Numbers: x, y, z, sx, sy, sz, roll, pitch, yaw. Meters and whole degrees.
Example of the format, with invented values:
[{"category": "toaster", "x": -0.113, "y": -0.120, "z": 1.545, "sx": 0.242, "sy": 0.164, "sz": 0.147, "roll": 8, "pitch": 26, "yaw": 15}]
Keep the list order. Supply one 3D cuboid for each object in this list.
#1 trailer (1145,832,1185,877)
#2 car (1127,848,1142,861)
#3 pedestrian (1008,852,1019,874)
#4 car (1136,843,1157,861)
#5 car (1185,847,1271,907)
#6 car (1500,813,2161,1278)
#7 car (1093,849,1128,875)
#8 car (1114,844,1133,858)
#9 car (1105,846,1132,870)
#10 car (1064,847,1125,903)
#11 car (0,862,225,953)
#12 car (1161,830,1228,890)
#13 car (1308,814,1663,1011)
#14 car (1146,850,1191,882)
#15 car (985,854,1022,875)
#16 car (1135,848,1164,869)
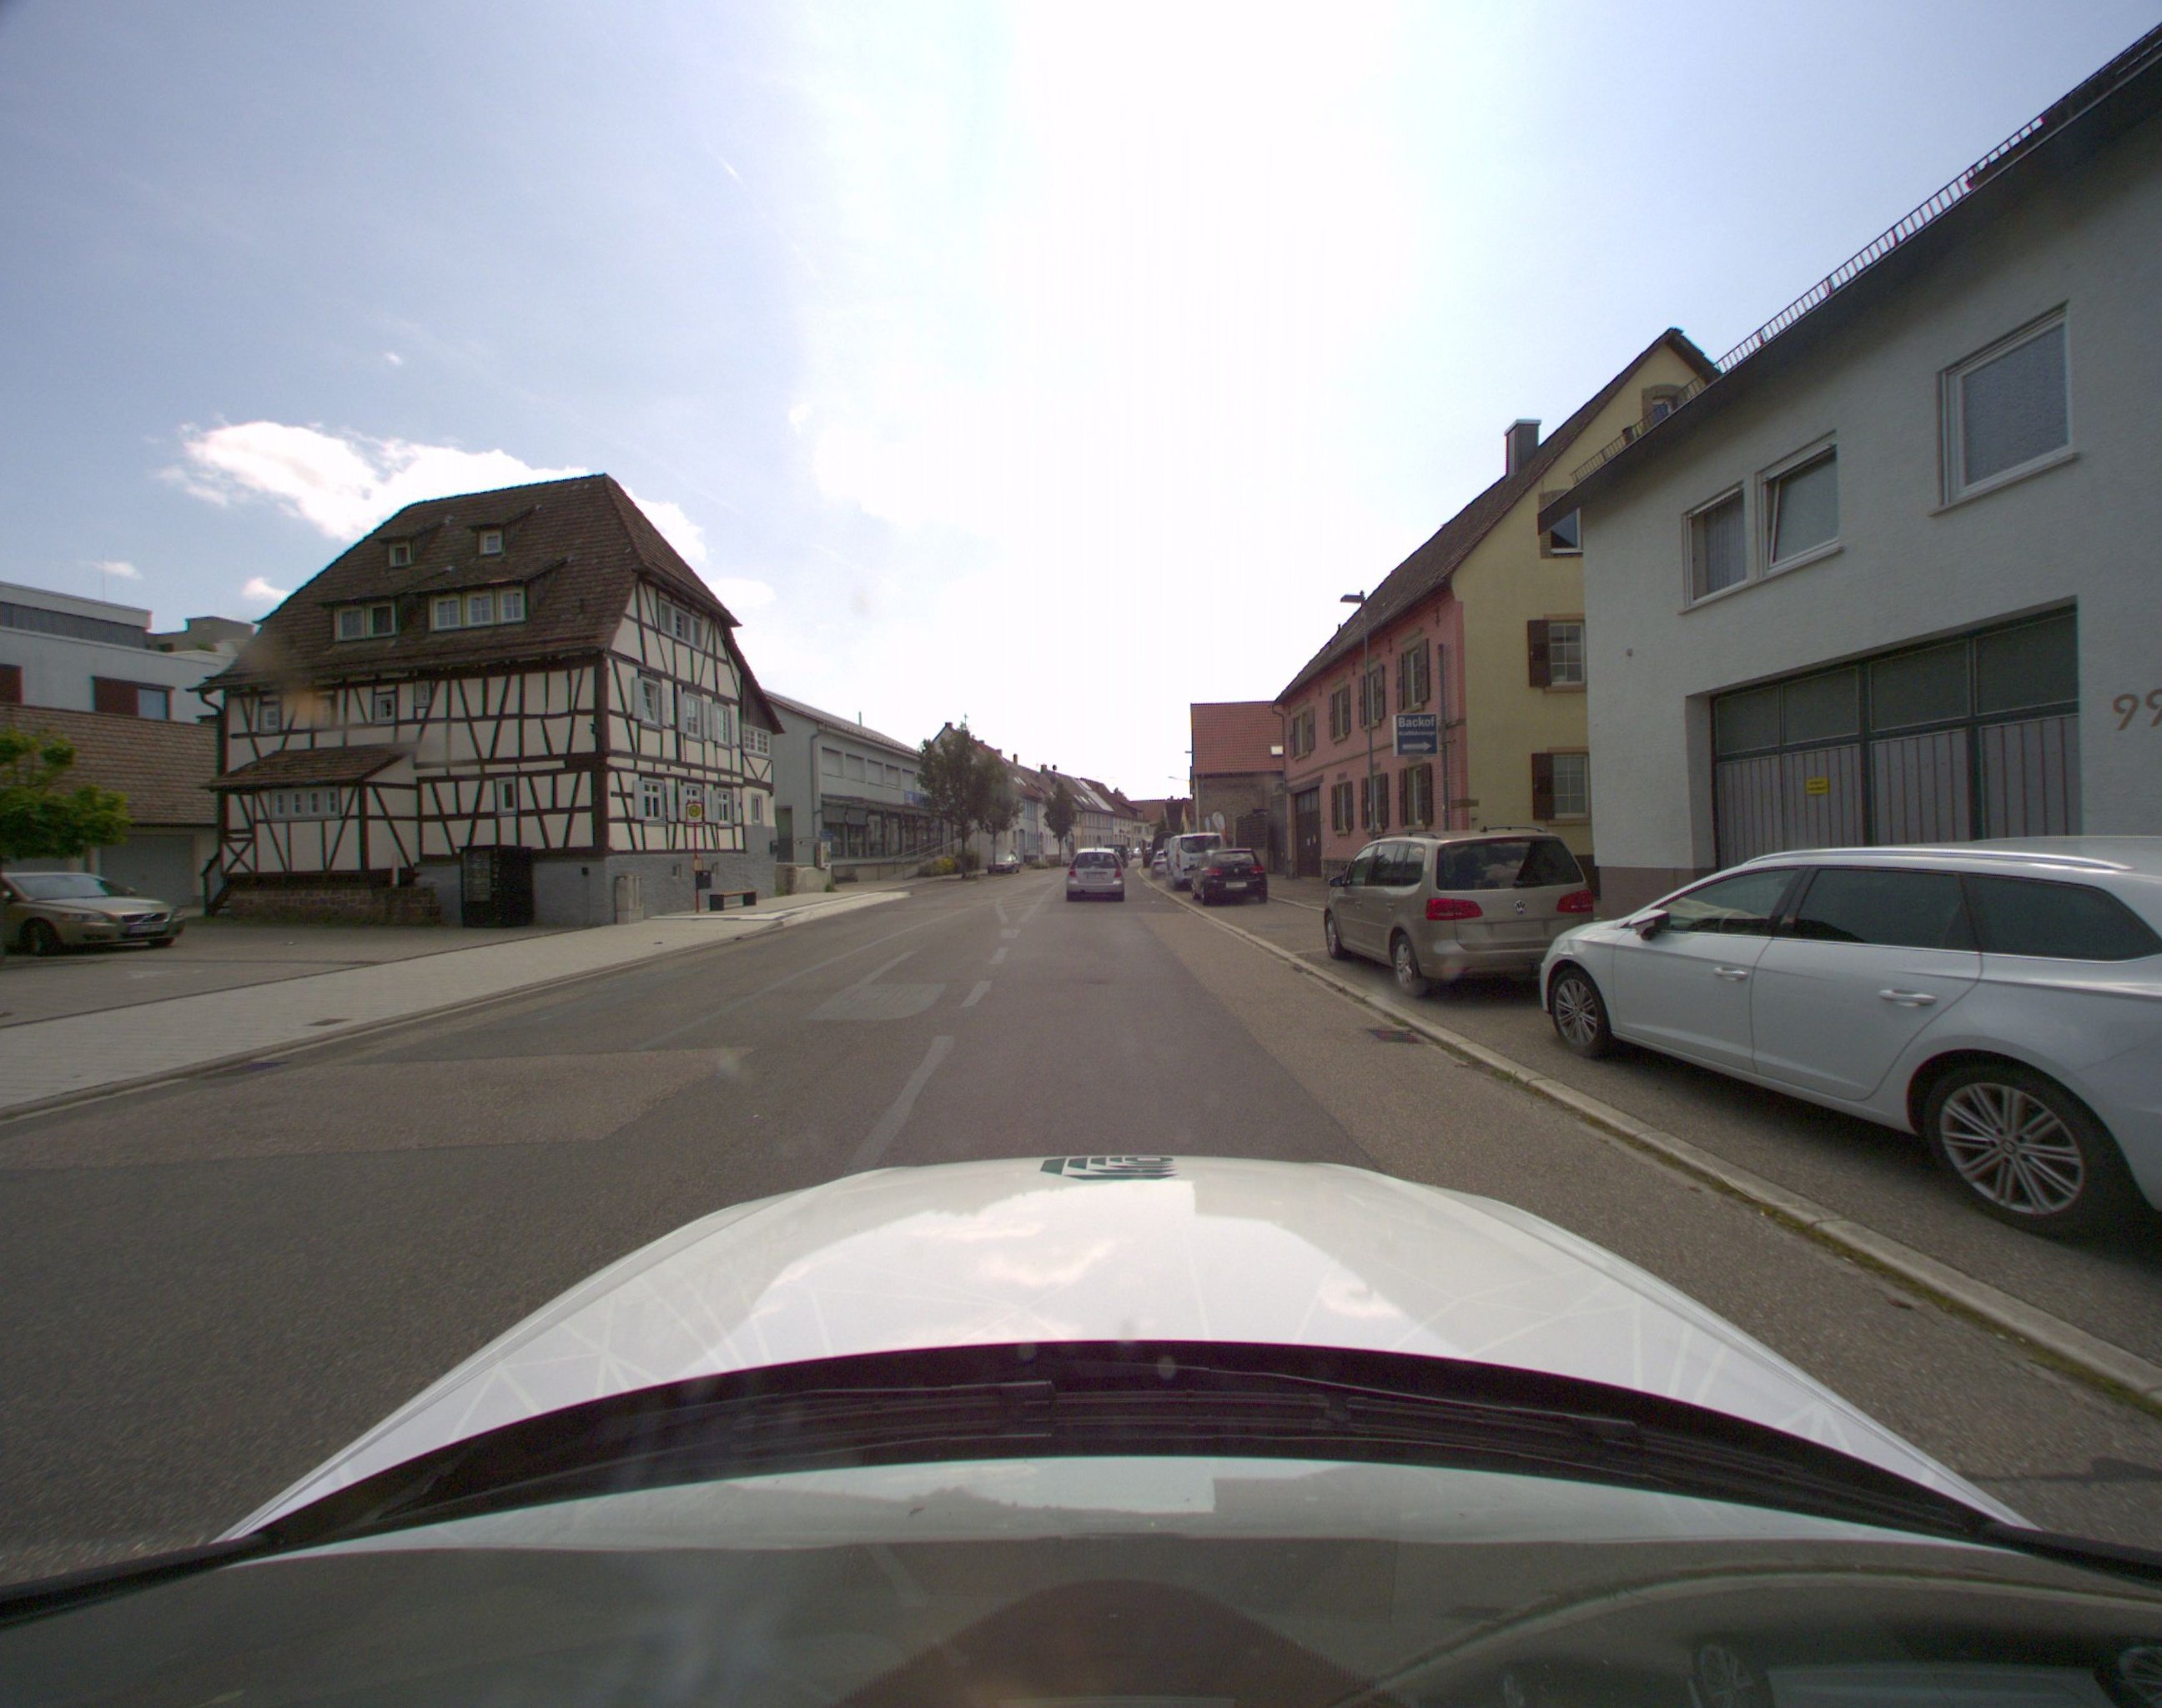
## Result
[{"category": "trailer", "x": 4.656, "y": 0.004, "z": 45.537, "sx": 1.838, "sy": 2.354, "sz": 3.590, "roll": -2, "pitch": 0, "yaw": 1}, {"category": "car", "x": 8.316, "y": 0.114, "z": 127.180, "sx": 1.982, "sy": 2.014, "sz": 4.009, "roll": -2, "pitch": -1, "yaw": 8}, {"category": "pedestrian", "x": -5.623, "y": 0.763, "z": 67.996, "sx": 0.736, "sy": 1.801, "sz": 0.643, "roll": -2, "pitch": -1, "yaw": 3}, {"category": "car", "x": 8.535, "y": -0.260, "z": 105.198, "sx": 2.222, "sy": 2.222, "sz": 4.011, "roll": -2, "pitch": -1, "yaw": 10}, {"category": "car", "x": 4.056, "y": 0.580, "z": 23.057, "sx": 1.768, "sy": 1.495, "sz": 4.163, "roll": -2, "pitch": 0, "yaw": 2}, {"category": "car", "x": 4.435, "y": 0.600, "z": 4.355, "sx": 1.989, "sy": 1.517, "sz": 4.367, "roll": -2, "pitch": 0, "yaw": -2}, {"category": "car", "x": 1.718, "y": 0.463, "z": 48.114, "sx": 1.938, "sy": 1.407, "sz": 4.000, "roll": 1, "pitch": 0, "yaw": 1}, {"category": "car", "x": 5.447, "y": -0.354, "z": 103.596, "sx": 1.983, "sy": 1.750, "sz": 4.008, "roll": -2, "pitch": -1, "yaw": 7}, {"category": "car", "x": 3.128, "y": 0.308, "z": 67.711, "sx": 1.759, "sy": 1.888, "sz": 4.457, "roll": 1, "pitch": 0, "yaw": 8}, {"category": "car", "x": 0.429, "y": 0.619, "z": 25.720, "sx": 1.762, "sy": 1.594, "sz": 4.001, "roll": -1, "pitch": 0, "yaw": 1}, {"category": "car", "x": -18.688, "y": 0.906, "z": 14.789, "sx": 4.405, "sy": 1.389, "sz": 1.967, "roll": 1, "pitch": 0, "yaw": 5}, {"category": "car", "x": 4.197, "y": 0.204, "z": 30.792, "sx": 1.885, "sy": 1.982, "sz": 4.933, "roll": -4, "pitch": 0, "yaw": 2}, {"category": "car", "x": 4.162, "y": 0.513, "z": 9.331, "sx": 1.986, "sy": 1.680, "sz": 4.325, "roll": -2, "pitch": 0, "yaw": 2}, {"category": "car", "x": 4.267, "y": 0.559, "z": 40.521, "sx": 1.868, "sy": 1.481, "sz": 4.676, "roll": -1, "pitch": 0, "yaw": 2}, {"category": "car", "x": -5.522, "y": 0.739, "z": 58.579, "sx": 1.795, "sy": 1.460, "sz": 4.165, "roll": -1, "pitch": 0, "yaw": 6}, {"category": "car", "x": 5.459, "y": 0.323, "z": 64.579, "sx": 1.982, "sy": 1.559, "sz": 4.010, "roll": -3, "pitch": 0, "yaw": 9}]
